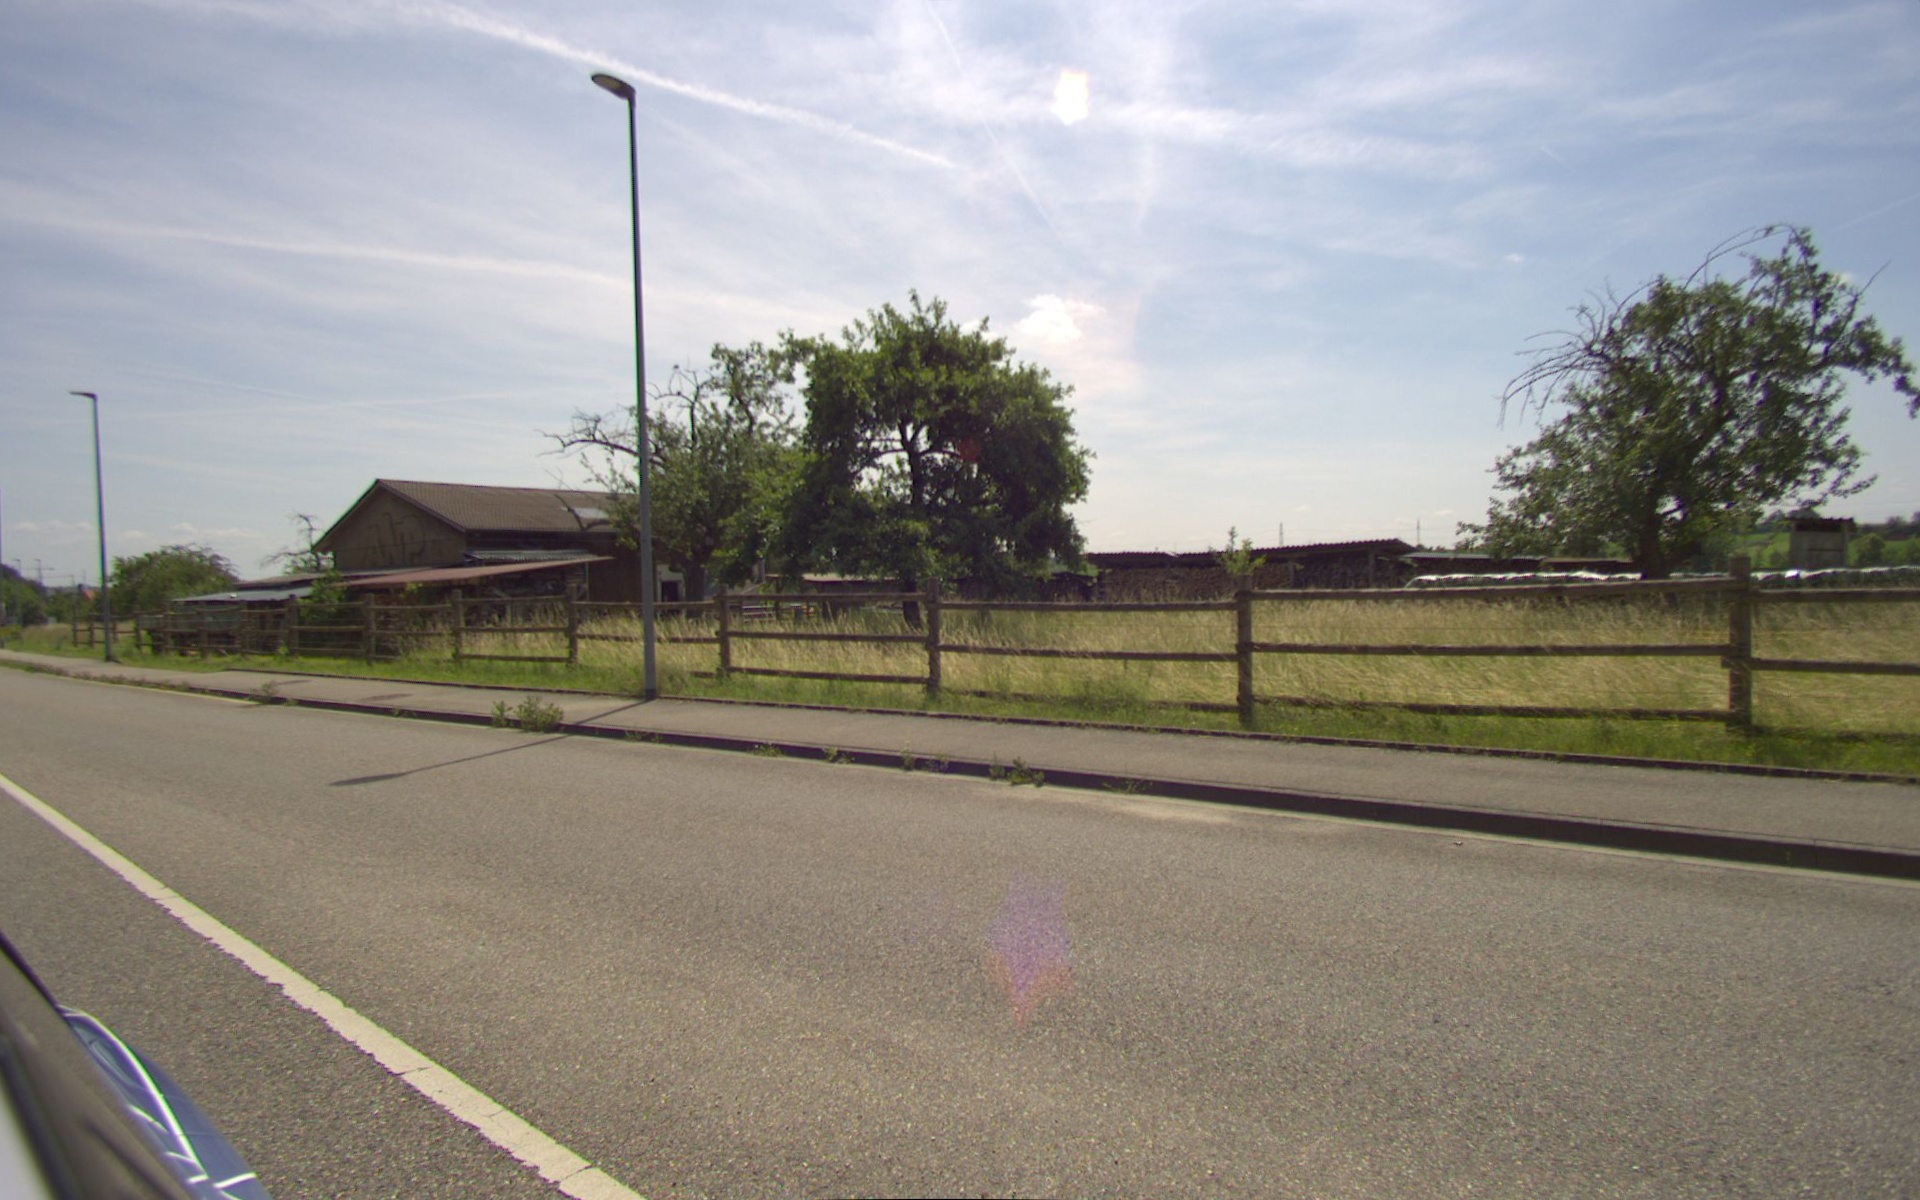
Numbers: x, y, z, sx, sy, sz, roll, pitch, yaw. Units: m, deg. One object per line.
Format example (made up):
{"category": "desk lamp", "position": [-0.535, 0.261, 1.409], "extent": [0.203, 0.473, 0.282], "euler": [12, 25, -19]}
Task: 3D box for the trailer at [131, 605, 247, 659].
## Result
{"category": "trailer", "position": [-26.207, 1.064, 34.353], "extent": [5.025, 1.716, 2.133], "euler": [-2, -1, 40]}
